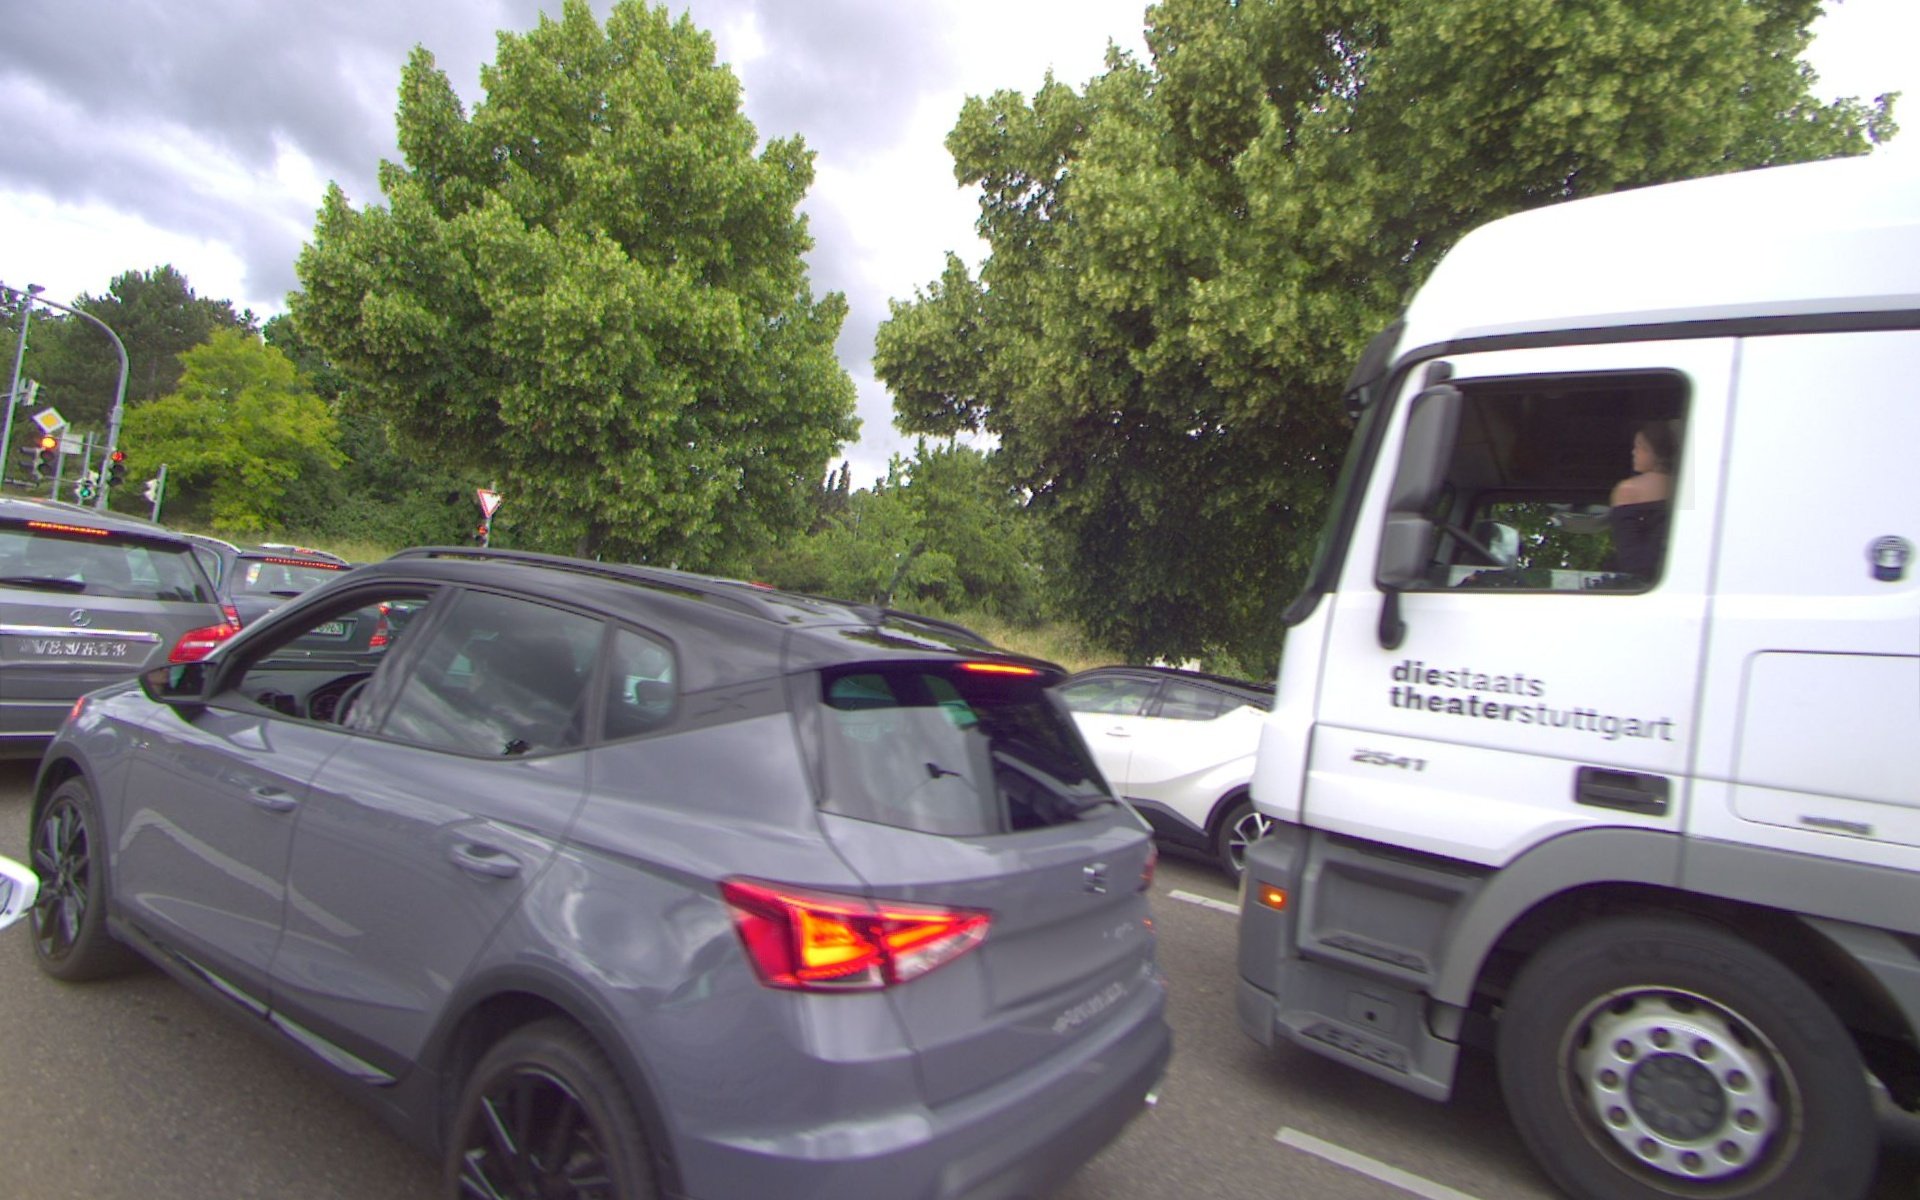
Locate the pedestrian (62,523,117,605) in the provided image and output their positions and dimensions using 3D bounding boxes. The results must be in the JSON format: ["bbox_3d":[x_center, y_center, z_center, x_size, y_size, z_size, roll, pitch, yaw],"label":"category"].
[{"bbox_3d":[-16.500,-0.679,19.071,0.349,1.470,0.611,6,-1,40],"label":"pedestrian"}]

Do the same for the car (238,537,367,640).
[{"bbox_3d":[-13.538,-0.294,20.602,1.696,1.655,4.200,11,-3,-38],"label":"car"}]

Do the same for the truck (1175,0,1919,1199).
[{"bbox_3d":[3.399,0.158,3.680,4.039,3.749,2.575,8,-1,33],"label":"truck"}]

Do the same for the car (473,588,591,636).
[{"bbox_3d":[-19.756,0.579,46.545,1.974,1.477,4.489,5,-5,43],"label":"car"}]

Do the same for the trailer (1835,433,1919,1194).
[{"bbox_3d":[6.773,0.595,1.459,7.637,3.749,2.569,7,-1,33],"label":"trailer"}]

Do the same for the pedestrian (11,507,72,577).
[{"bbox_3d":[-22.779,-1.433,24.949,0.509,1.579,0.865,7,-1,30],"label":"pedestrian"}]

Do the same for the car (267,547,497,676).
[{"bbox_3d":[-8.793,0.150,15.225,3.583,1.454,1.515,7,-1,35],"label":"car"}]

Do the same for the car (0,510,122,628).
[{"bbox_3d":[-13.718,-0.571,14.244,3.933,1.420,1.549,6,-2,31],"label":"car"}]

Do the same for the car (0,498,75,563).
[{"bbox_3d":[-31.463,-2.433,31.319,1.967,1.836,5.429,4,-3,31],"label":"car"}]

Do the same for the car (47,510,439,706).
[{"bbox_3d":[-7.555,0.048,10.498,4.144,1.452,1.828,7,-1,33],"label":"car"}]

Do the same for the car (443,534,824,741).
[{"bbox_3d":[-4.028,0.385,12.146,4.432,1.825,1.828,7,-1,33],"label":"car"}]

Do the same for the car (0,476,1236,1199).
[{"bbox_3d":[-1.378,0.573,3.266,3.935,1.503,1.701,7,-1,33],"label":"car"}]

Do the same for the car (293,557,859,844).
[{"bbox_3d":[-2.998,0.625,7.650,4.050,1.370,1.815,6,-2,32],"label":"car"}]

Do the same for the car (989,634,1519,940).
[{"bbox_3d":[2.278,1.290,8.010,3.622,1.514,1.644,7,-1,31],"label":"car"}]

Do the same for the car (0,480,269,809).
[{"bbox_3d":[-6.107,0.032,5.976,4.120,1.541,1.801,7,-1,34],"label":"car"}]
